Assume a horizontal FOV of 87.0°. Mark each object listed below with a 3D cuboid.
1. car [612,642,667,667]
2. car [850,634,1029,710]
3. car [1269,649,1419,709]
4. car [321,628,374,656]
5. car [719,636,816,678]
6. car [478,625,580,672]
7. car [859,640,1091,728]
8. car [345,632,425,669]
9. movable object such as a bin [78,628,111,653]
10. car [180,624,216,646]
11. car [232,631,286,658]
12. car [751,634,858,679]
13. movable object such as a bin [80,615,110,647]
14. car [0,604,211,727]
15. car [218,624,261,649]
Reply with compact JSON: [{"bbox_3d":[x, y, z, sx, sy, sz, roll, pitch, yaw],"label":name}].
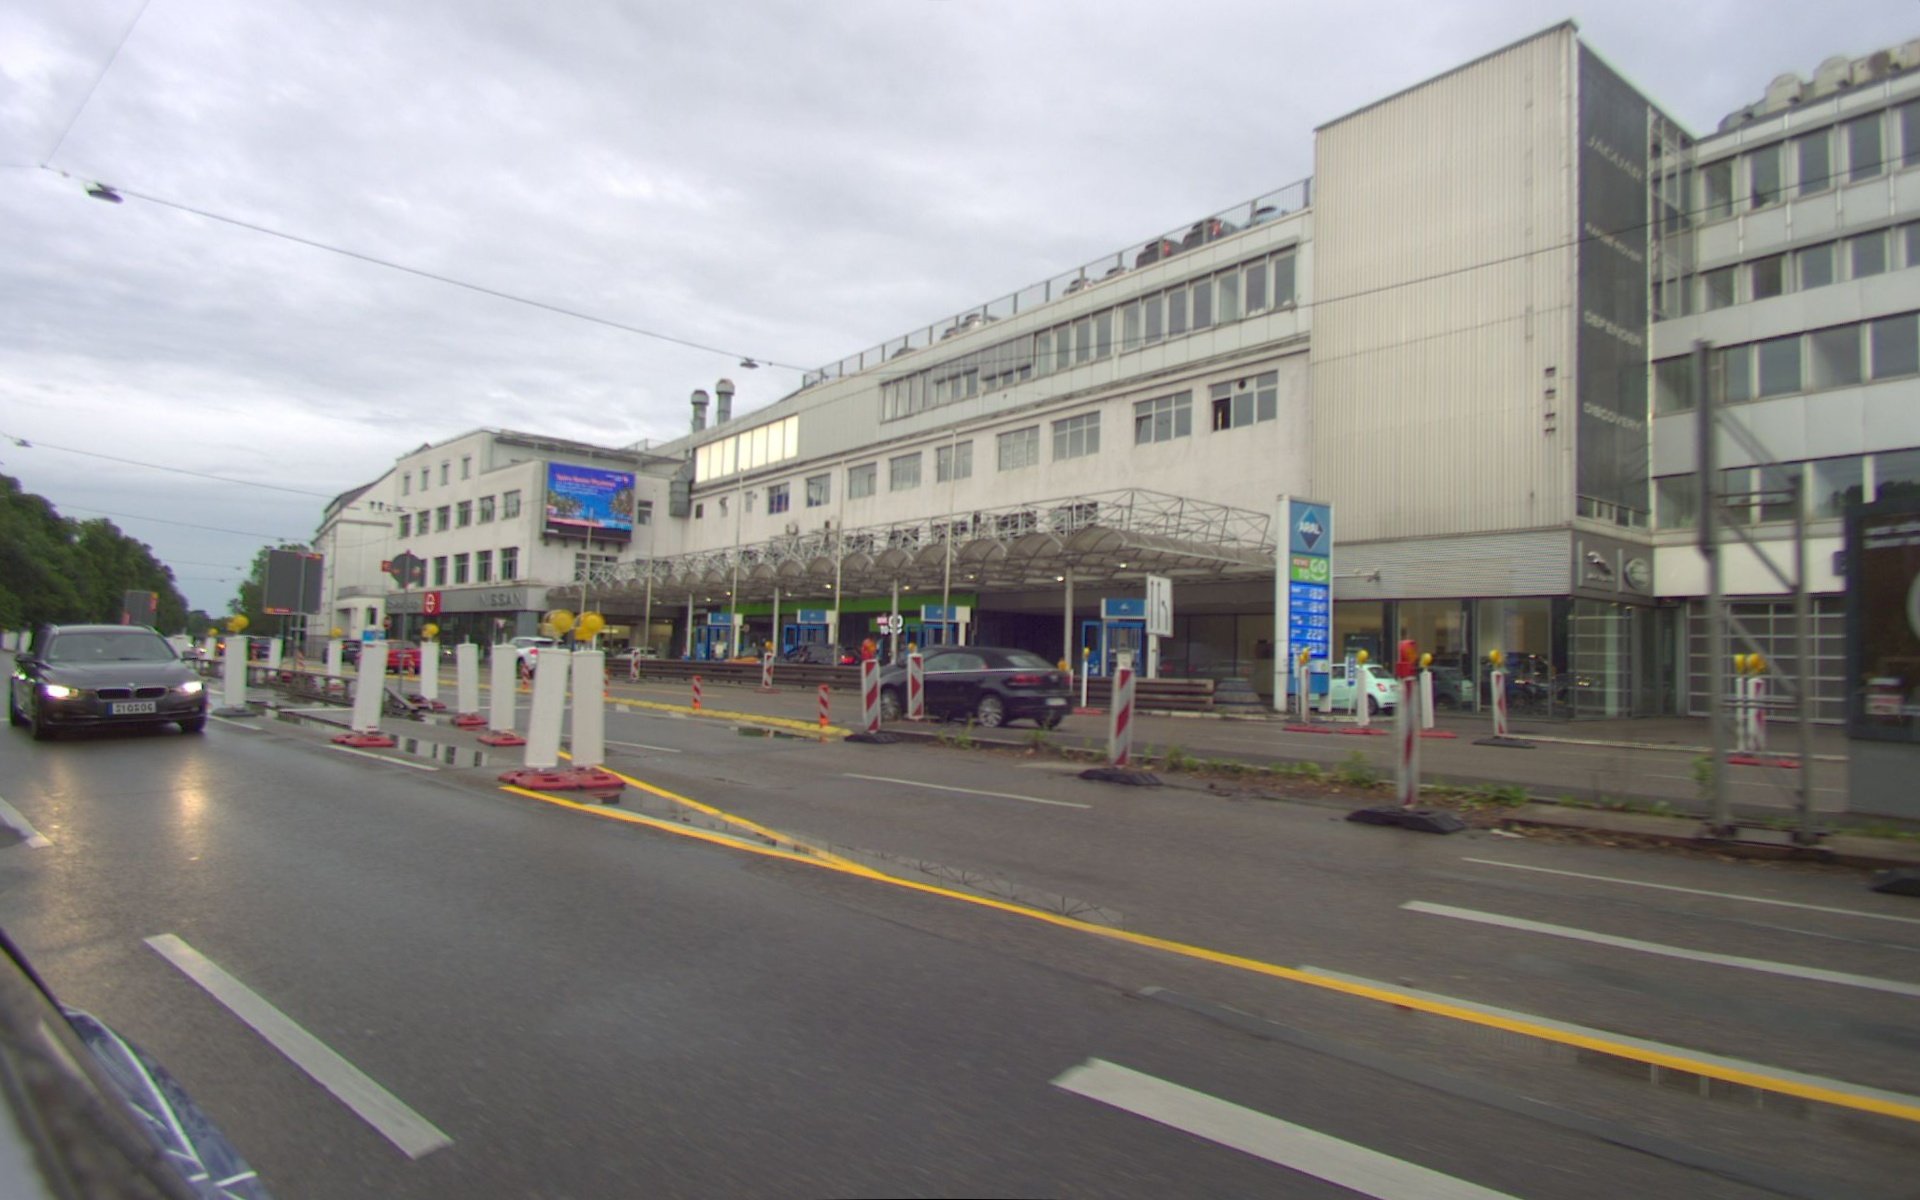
[{"bbox_3d":[-20.897,3.544,65.876,1.791,1.494,3.971,6,-5,-43],"label":"car"},{"bbox_3d":[-0.530,1.642,23.443,4.000,1.525,1.733,0,-5,43],"label":"car"},{"bbox_3d":[11.084,2.273,29.385,1.632,1.546,3.762,6,-5,-40],"label":"car"},{"bbox_3d":[-37.387,2.565,61.748,4.079,1.548,1.691,-2,-6,44],"label":"car"},{"bbox_3d":[-9.266,2.767,49.066,4.378,1.784,1.969,3,-4,-5],"label":"car"},{"bbox_3d":[-17.484,1.938,40.929,4.832,1.720,1.957,-1,-5,44],"label":"car"},{"bbox_3d":[0.186,1.472,18.338,4.114,1.364,1.670,-1,-5,43],"label":"car"},{"bbox_3d":[-24.249,2.111,42.636,4.290,1.415,1.716,-1,-4,44],"label":"car"},{"bbox_3d":[-79.794,3.738,93.392,1.968,2.128,3.857,6,-6,-37],"label":"movable object such as a bin"},{"bbox_3d":[-74.750,3.446,99.293,1.971,1.951,5.234,7,-6,-45],"label":"car"},{"bbox_3d":[-43.941,2.781,63.398,4.301,1.533,1.937,-2,-5,44],"label":"car"},{"bbox_3d":[-6.660,2.469,43.766,4.412,1.692,2.016,3,-4,-5],"label":"car"},{"bbox_3d":[-83.190,3.030,97.385,1.798,2.935,3.614,6,-7,-37],"label":"movable object such as a bin"},{"bbox_3d":[-11.972,0.852,14.075,4.177,1.461,1.740,-2,-3,43],"label":"car"},{"bbox_3d":[-52.059,2.654,73.129,1.915,1.702,4.585,6,-5,-42],"label":"car"}]
